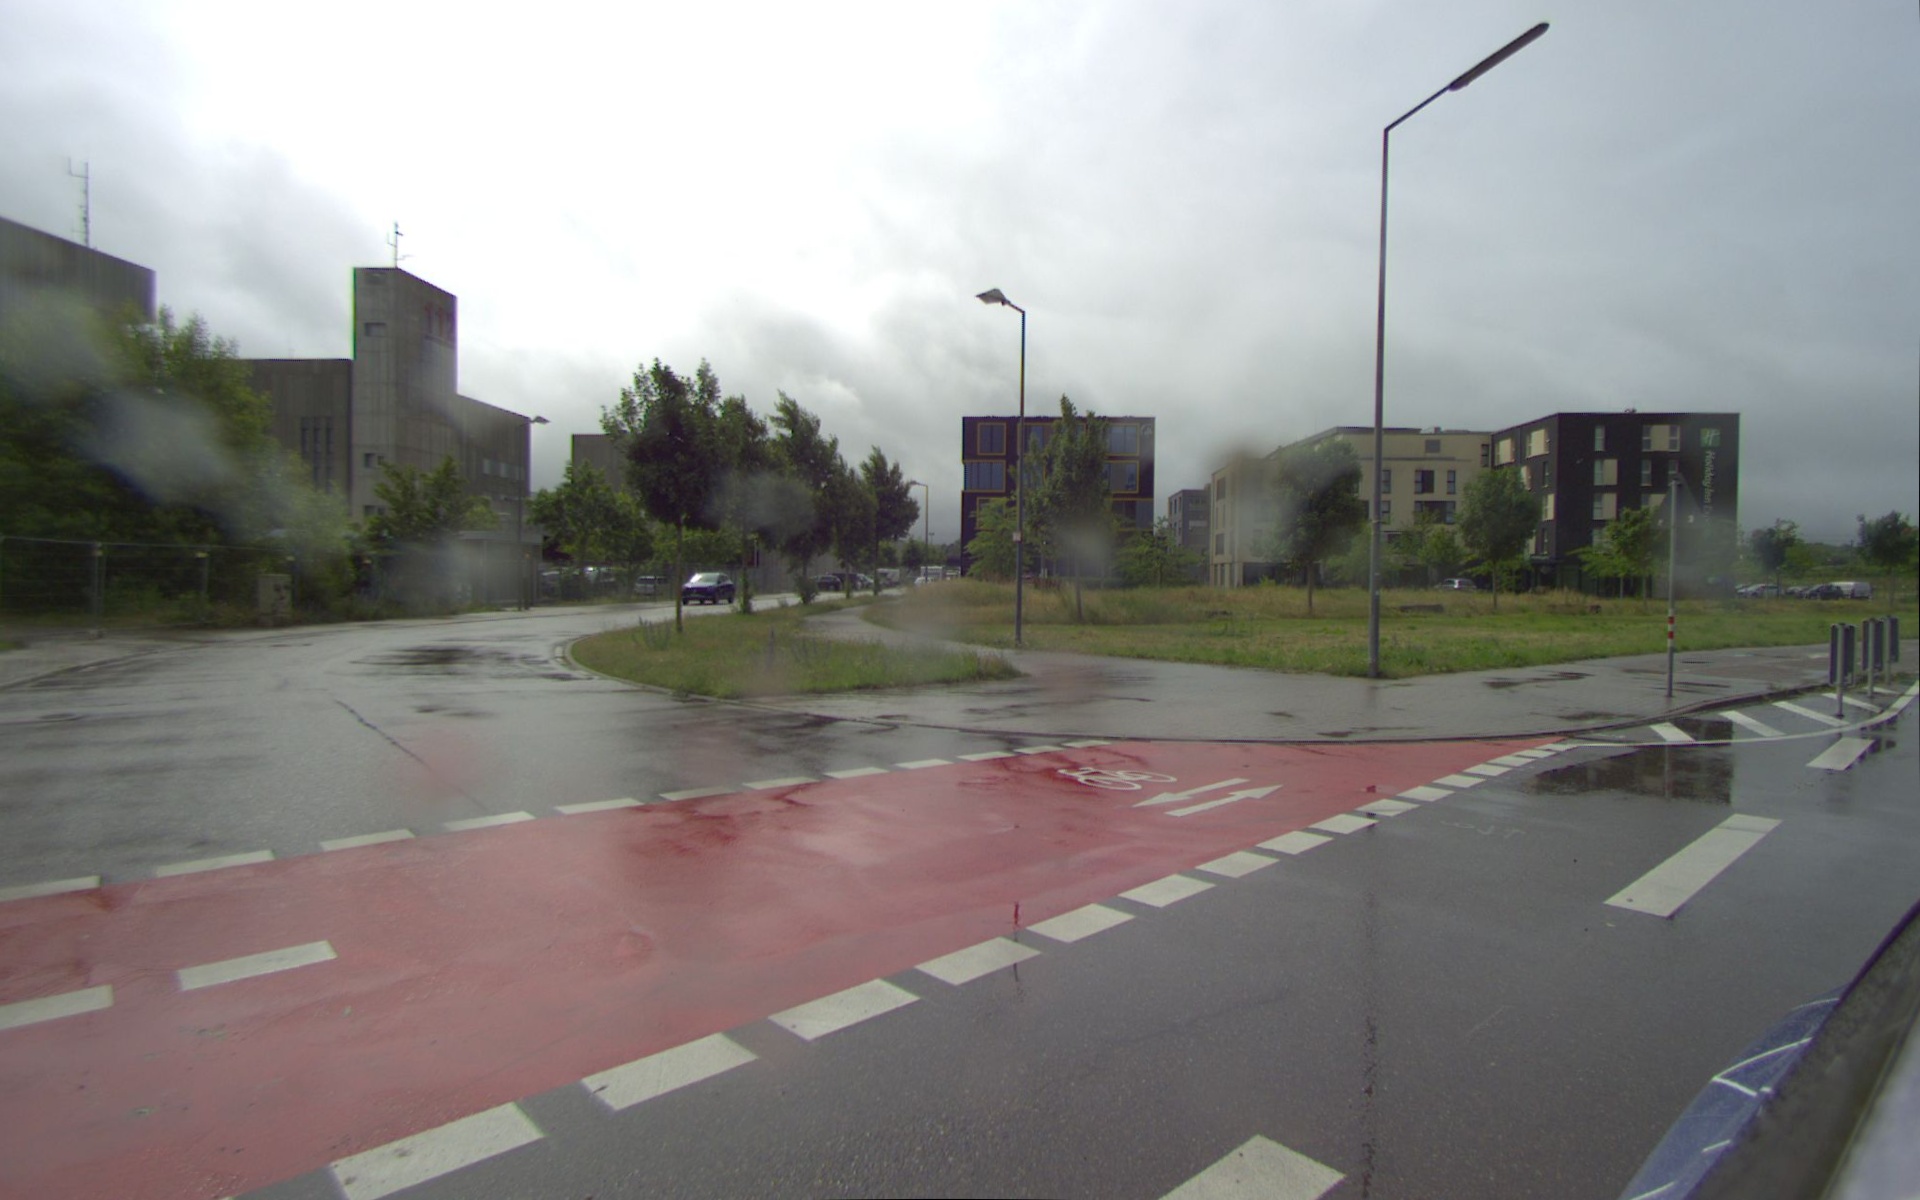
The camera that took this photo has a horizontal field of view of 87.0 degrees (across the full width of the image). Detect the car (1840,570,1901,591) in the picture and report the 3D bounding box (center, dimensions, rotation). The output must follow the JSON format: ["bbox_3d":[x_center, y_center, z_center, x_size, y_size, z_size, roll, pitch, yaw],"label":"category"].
[{"bbox_3d":[89.270,-1.905,99.261,3.933,2.039,1.996,0,1,8],"label":"car"}]

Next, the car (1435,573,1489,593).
[{"bbox_3d":[39.277,-1.335,79.169,3.591,1.602,1.652,0,1,-15],"label":"car"}]

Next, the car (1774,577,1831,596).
[{"bbox_3d":[76.160,-1.226,91.527,3.598,1.682,1.642,0,1,15],"label":"car"}]

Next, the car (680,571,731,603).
[{"bbox_3d":[-13.174,-0.696,52.487,1.571,1.631,3.597,0,1,3],"label":"car"}]

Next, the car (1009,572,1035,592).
[{"bbox_3d":[5.008,-1.499,82.492,1.616,1.602,3.672,0,1,-4],"label":"car"}]

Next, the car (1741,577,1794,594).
[{"bbox_3d":[78.467,-1.384,98.379,3.593,1.631,1.595,0,1,12],"label":"car"}]
